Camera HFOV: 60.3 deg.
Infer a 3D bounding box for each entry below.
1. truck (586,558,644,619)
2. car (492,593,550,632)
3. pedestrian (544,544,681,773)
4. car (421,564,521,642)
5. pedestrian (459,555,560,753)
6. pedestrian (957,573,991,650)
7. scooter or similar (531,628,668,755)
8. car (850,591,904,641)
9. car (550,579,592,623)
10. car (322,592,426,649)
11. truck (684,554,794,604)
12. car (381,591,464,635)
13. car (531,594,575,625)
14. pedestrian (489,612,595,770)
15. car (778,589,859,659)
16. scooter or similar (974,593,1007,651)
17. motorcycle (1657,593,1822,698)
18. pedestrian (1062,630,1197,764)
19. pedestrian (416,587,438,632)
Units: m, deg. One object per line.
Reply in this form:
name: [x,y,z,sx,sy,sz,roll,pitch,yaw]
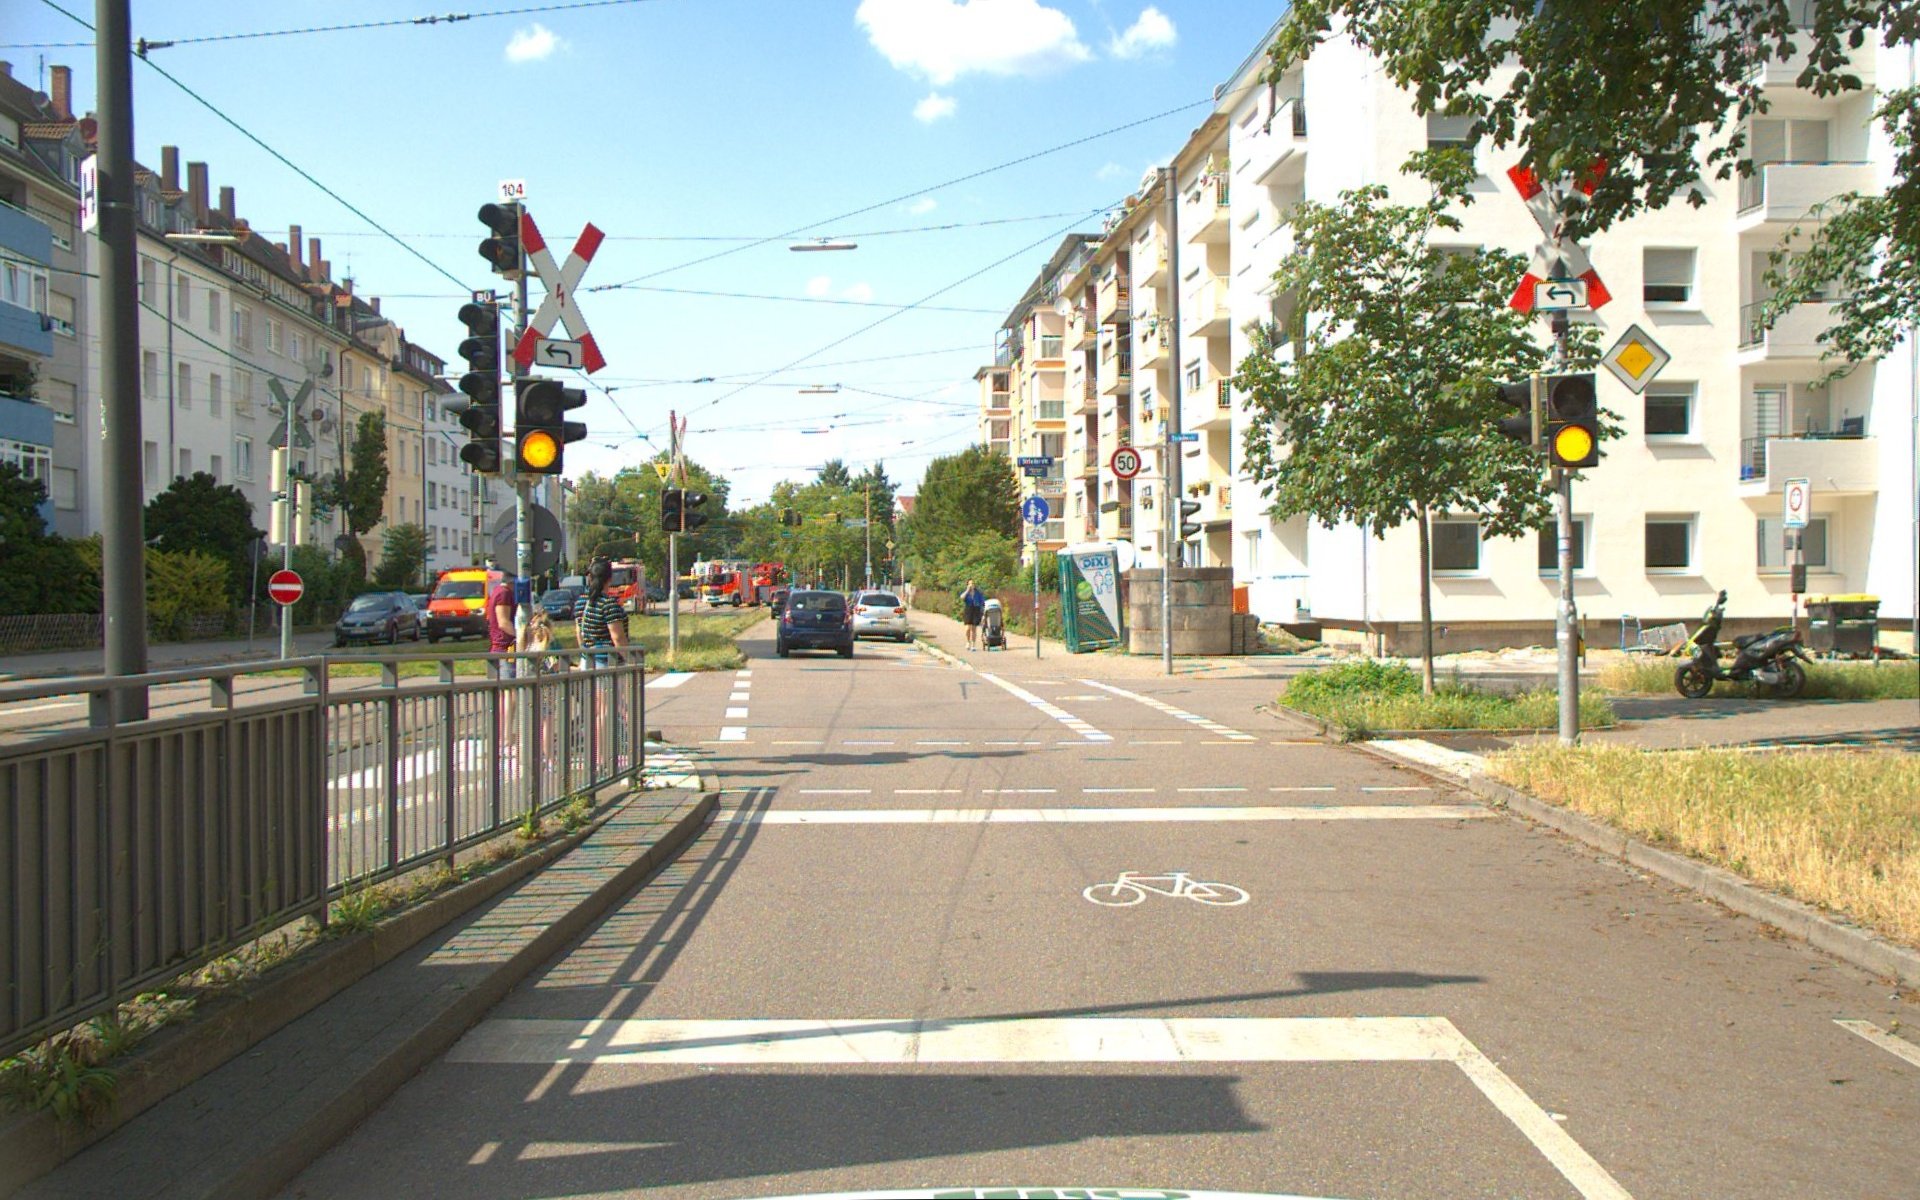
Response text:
truck: [-19.202,-0.616,92.406,2.547,3.241,8.368,-1,0,-8]
car: [-20.748,0.585,78.269,1.955,1.741,3.996,1,0,-5]
pedestrian: [-2.694,0.431,12.795,0.836,1.697,0.791,-1,0,-28]
car: [-15.362,0.072,52.214,1.954,2.315,4.831,0,0,-3]
pedestrian: [-3.926,0.462,14.452,0.691,1.677,0.636,1,0,-4]
pedestrian: [0.350,0.279,40.831,0.687,1.820,1.029,-4,0,-2]
scooter or similar: [-3.155,0.792,14.528,1.078,1.074,0.650,1,0,-5]
car: [-2.609,0.477,51.655,1.590,1.490,3.508,1,0,-4]
car: [-22.339,0.069,95.228,1.742,2.441,4.688,1,0,-6]
car: [-18.159,0.606,51.458,1.954,1.674,3.997,1,0,-3]
truck: [-16.533,-1.496,124.650,2.616,3.531,10.150,1,0,29]
car: [-18.612,0.434,57.461,1.733,1.467,3.997,1,0,-3]
car: [-21.705,0.497,88.307,1.742,1.584,3.995,1,0,-6]
pedestrian: [-3.350,0.707,13.225,0.630,1.201,0.791,-1,0,-30]
car: [-3.265,0.529,38.660,1.709,1.533,3.998,1,0,-3]
scooter or similar: [0.728,0.517,39.887,0.649,1.326,0.868,-4,1,-4]
motorcycle: [9.947,0.575,21.167,0.565,1.236,1.826,-6,2,-33]
pedestrian: [2.837,1.591,28.515,1.952,2.049,4.000,1,0,1]
pedestrian: [-22.012,0.400,68.345,0.692,1.825,0.863,-1,0,-8]
